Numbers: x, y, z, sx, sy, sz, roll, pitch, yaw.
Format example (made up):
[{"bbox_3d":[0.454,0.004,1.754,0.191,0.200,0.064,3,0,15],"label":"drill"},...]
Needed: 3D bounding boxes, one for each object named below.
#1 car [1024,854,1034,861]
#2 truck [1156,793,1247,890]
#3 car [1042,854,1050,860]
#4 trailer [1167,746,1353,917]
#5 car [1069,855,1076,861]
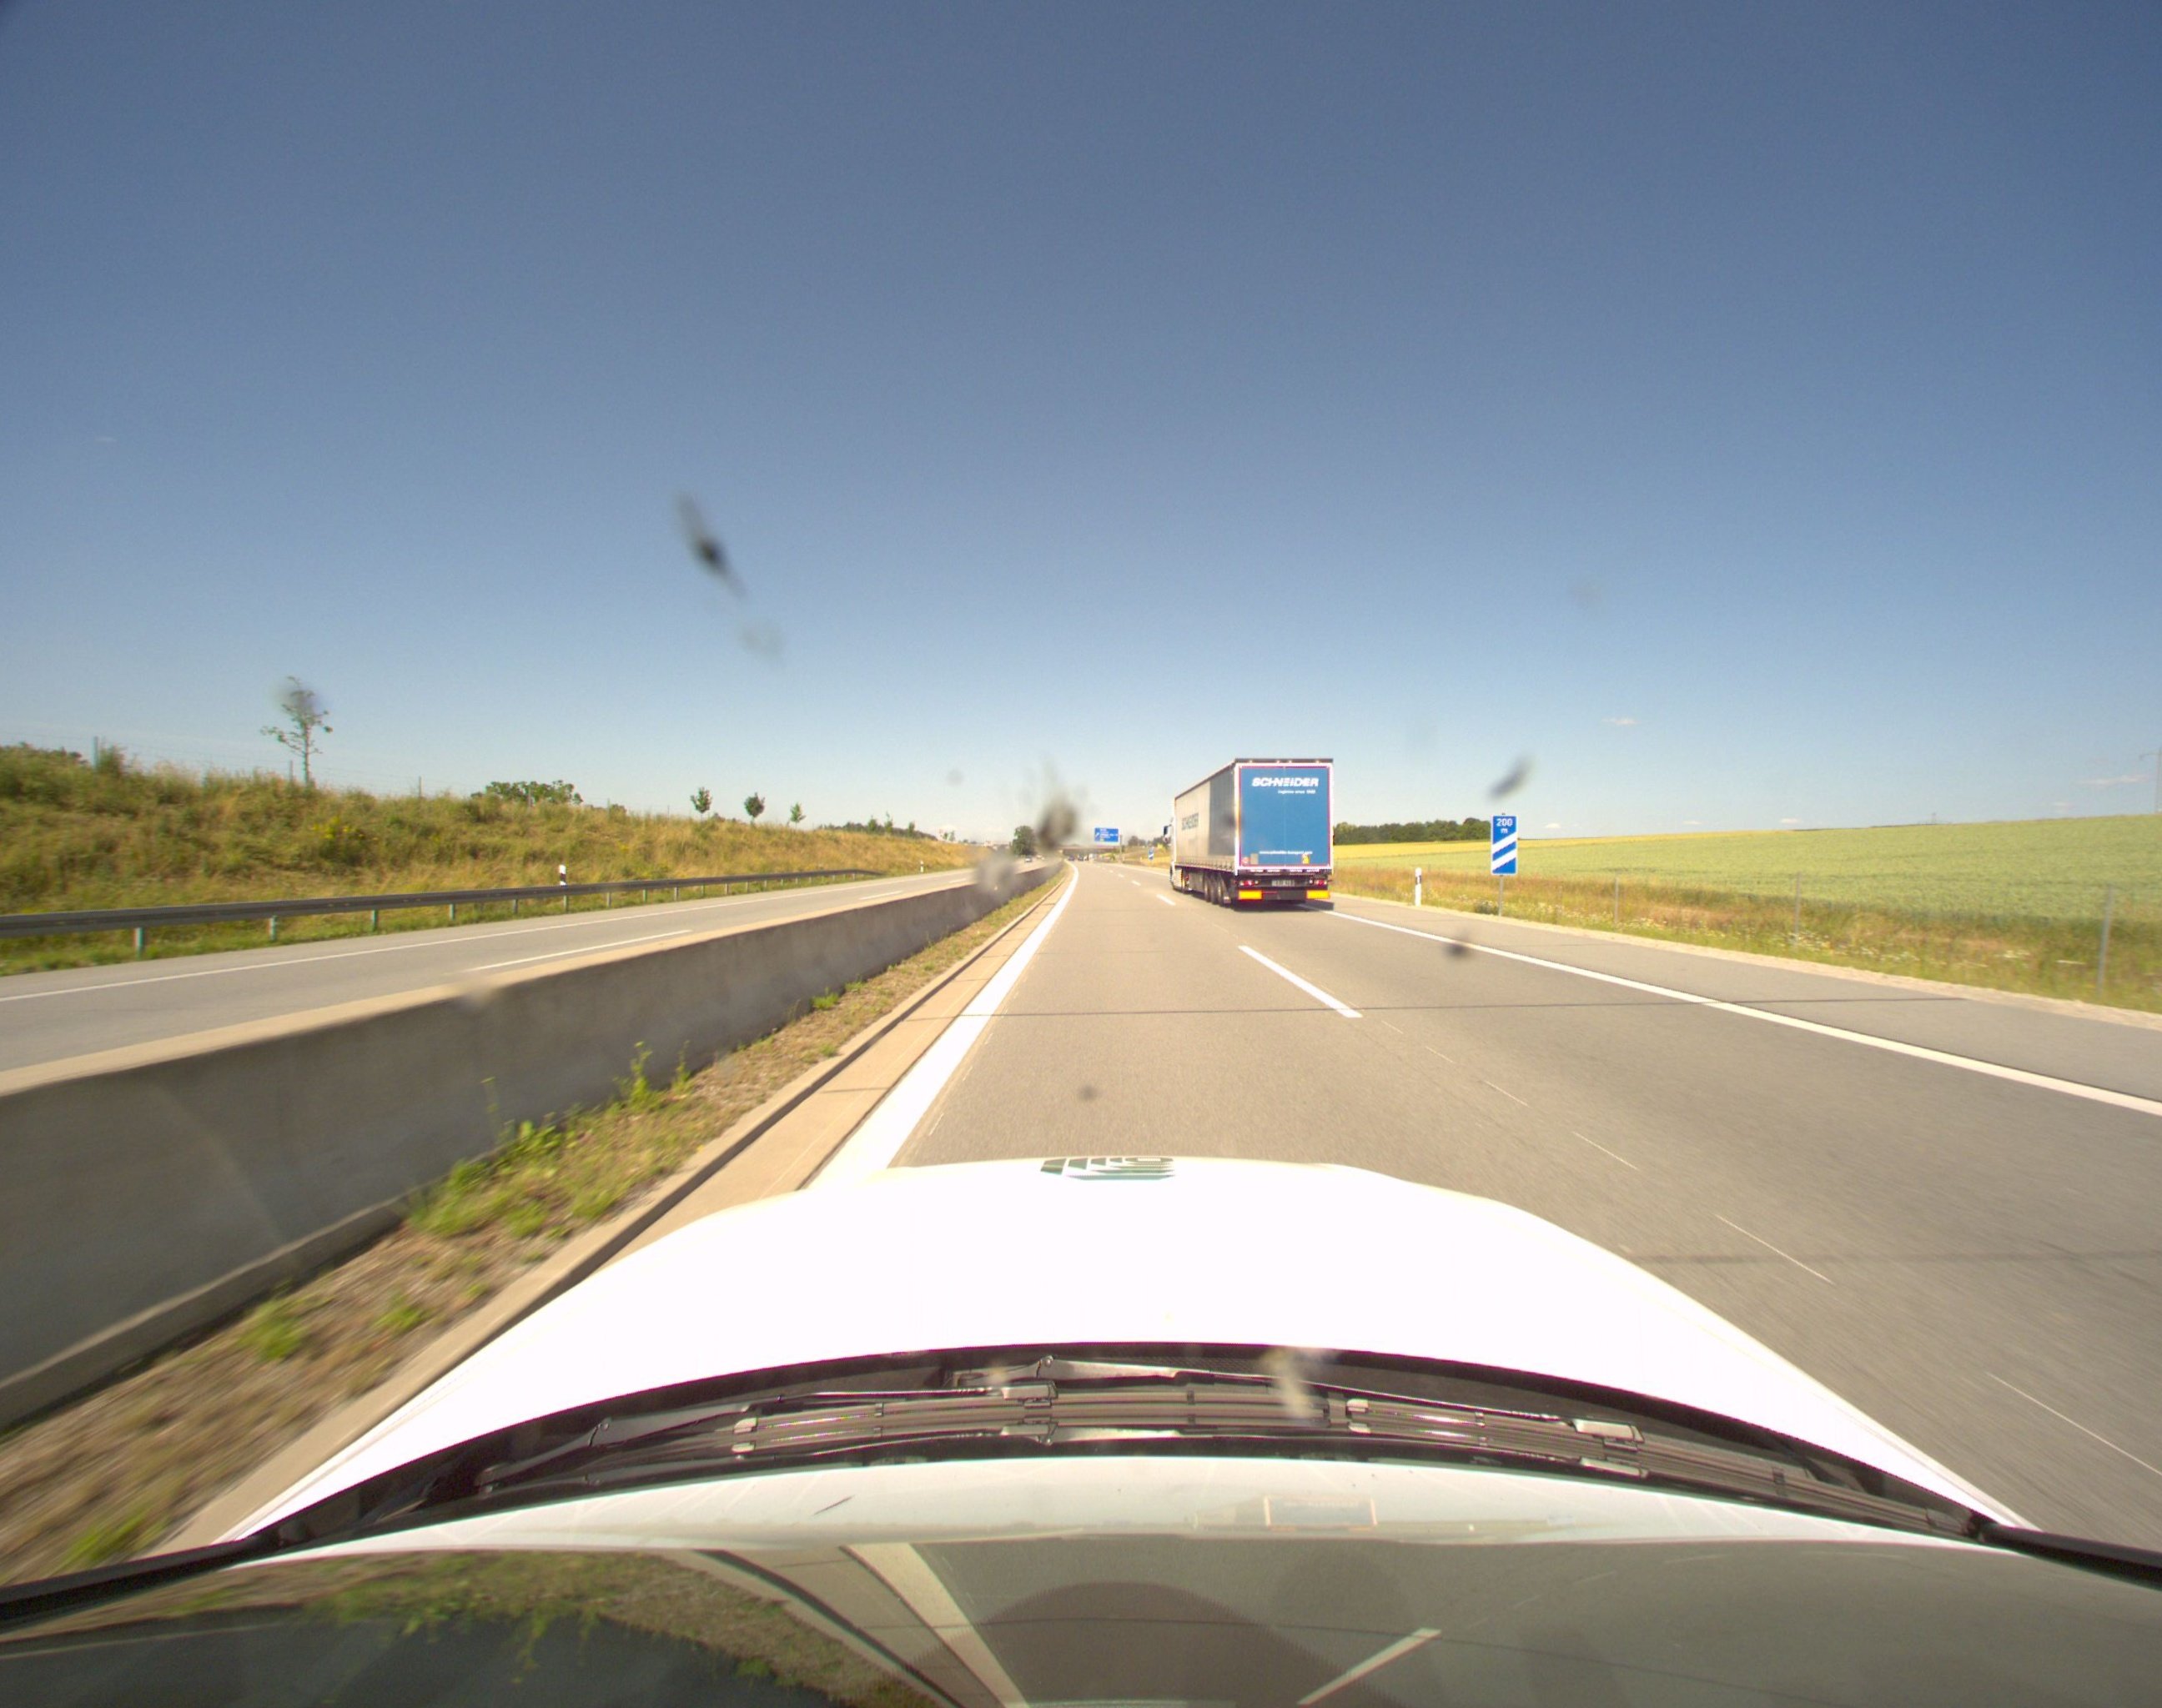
[{"bbox_3d":[-11.250,0.758,176.320,1.874,1.502,4.562,-1,0,-2],"label":"car"},{"bbox_3d":[5.401,-0.548,37.593,3.074,4.014,6.186,-2,0,-1],"label":"truck"},{"bbox_3d":[-9.139,0.754,214.470,1.876,1.575,4.558,-2,0,-5],"label":"car"},{"bbox_3d":[5.385,-0.585,28.514,3.166,4.294,15.459,-1,0,0],"label":"trailer"},{"bbox_3d":[-2.630,1.125,243.389,1.987,1.552,4.000,-2,0,0],"label":"car"}]
